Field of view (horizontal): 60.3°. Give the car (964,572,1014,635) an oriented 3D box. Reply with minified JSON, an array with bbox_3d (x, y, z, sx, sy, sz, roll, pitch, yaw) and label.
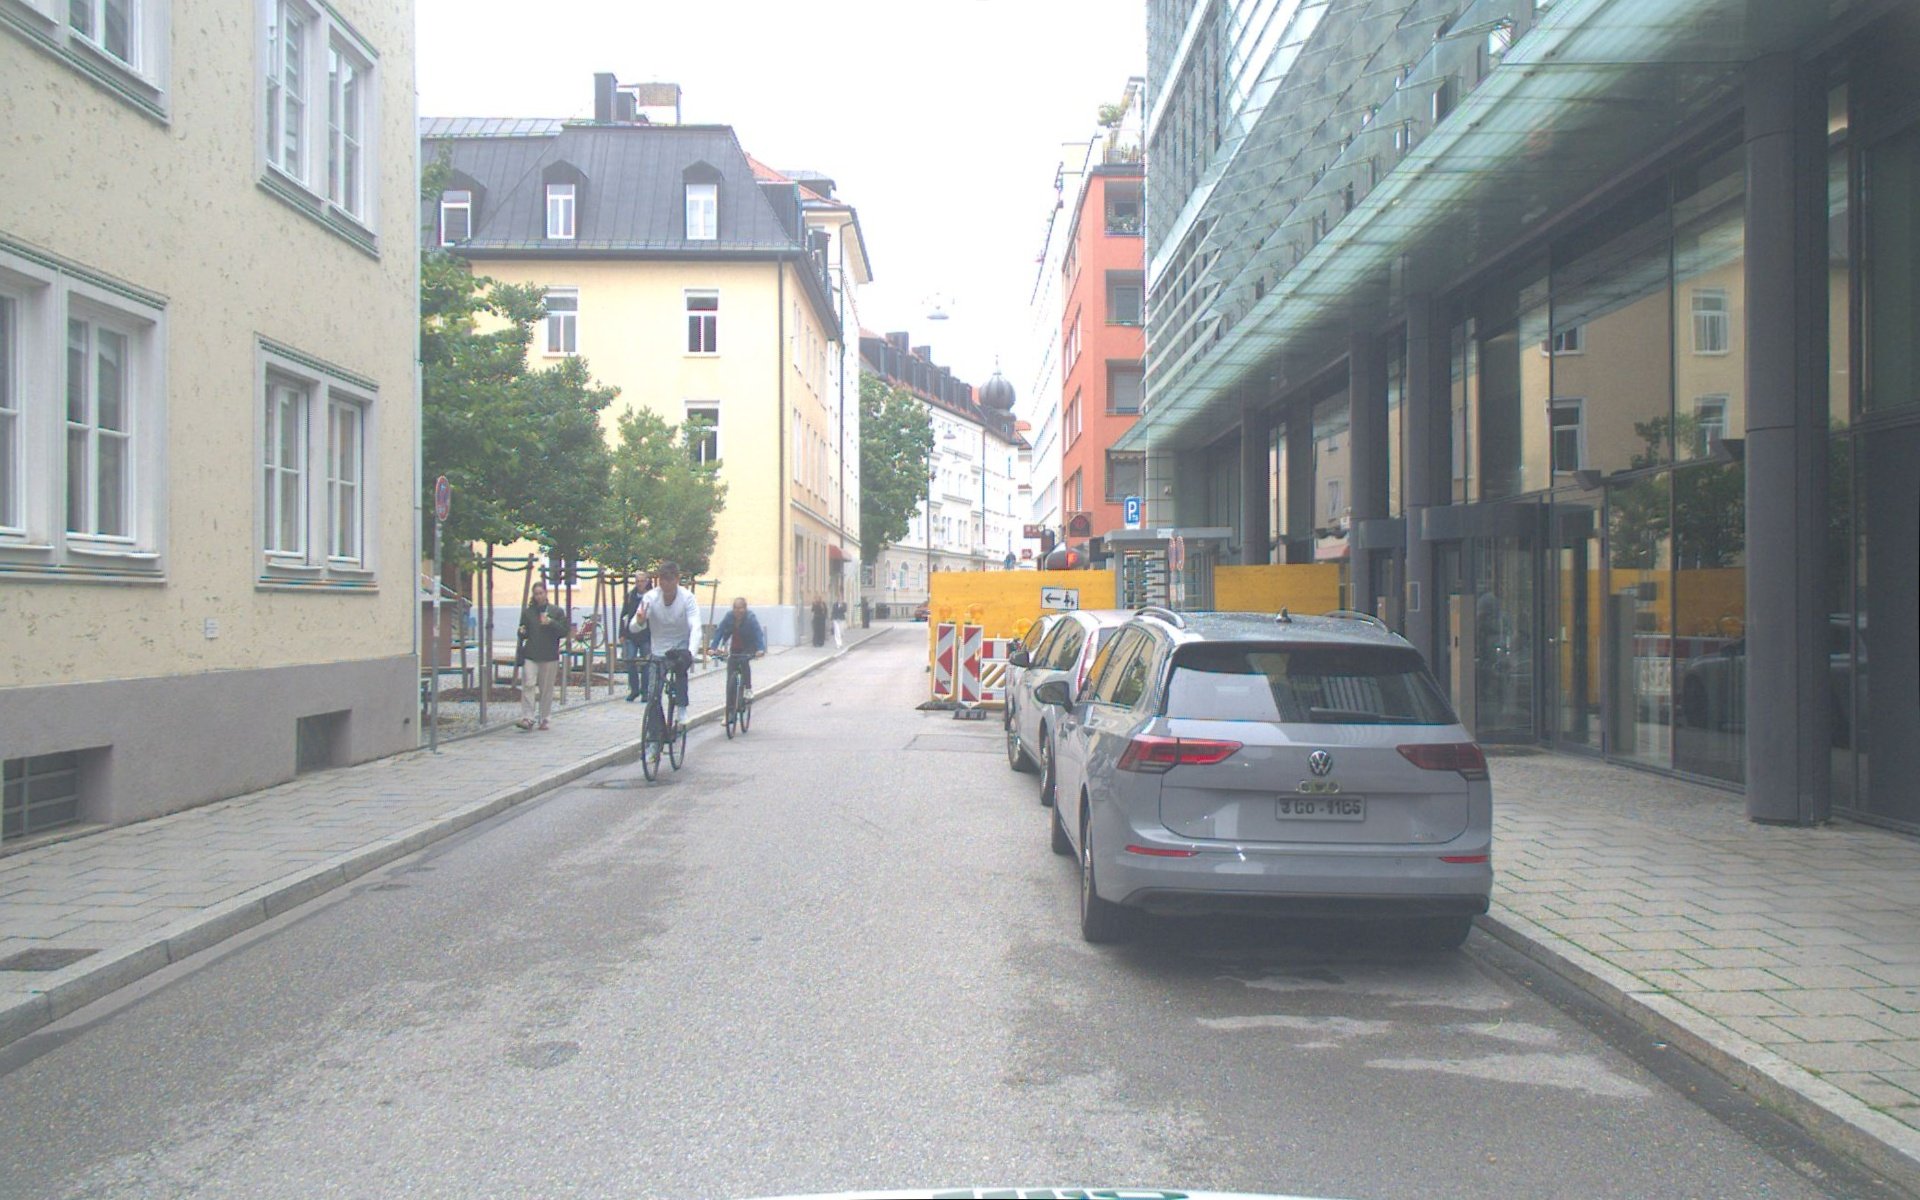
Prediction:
[{"bbox_3d":[1.225,0.143,71.052,1.953,2.581,4.974,1,0,-1],"label":"car"}]

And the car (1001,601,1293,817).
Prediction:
[{"bbox_3d":[1.375,0.784,13.766,1.673,1.493,4.234,1,-1,-4],"label":"car"}]

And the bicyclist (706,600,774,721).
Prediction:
[{"bbox_3d":[-2.605,0.705,19.660,0.693,1.395,0.813,-1,0,-1],"label":"bicyclist"}]

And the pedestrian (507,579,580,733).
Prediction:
[{"bbox_3d":[-4.724,0.625,18.784,0.634,1.706,0.723,1,-1,-2],"label":"pedestrian"}]

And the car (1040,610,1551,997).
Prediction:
[{"bbox_3d":[1.388,0.785,8.472,1.673,1.457,4.328,0,0,-1],"label":"car"}]

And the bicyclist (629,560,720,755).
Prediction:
[{"bbox_3d":[-2.524,0.498,14.687,0.646,1.672,0.895,-1,0,-1],"label":"bicyclist"}]

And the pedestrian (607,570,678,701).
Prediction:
[{"bbox_3d":[-4.762,0.524,24.861,0.850,1.914,1.134,1,-1,-1],"label":"pedestrian"}]

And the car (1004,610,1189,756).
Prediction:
[{"bbox_3d":[1.437,0.854,18.925,1.673,1.439,4.509,1,-1,-1],"label":"car"}]

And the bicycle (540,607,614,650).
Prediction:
[{"bbox_3d":[-11.070,0.822,47.806,2.000,1.218,0.570,0,0,6],"label":"bicycle"}]

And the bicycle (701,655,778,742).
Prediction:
[{"bbox_3d":[-2.604,1.145,19.689,0.693,0.921,1.809,-1,0,-1],"label":"bicycle"}]

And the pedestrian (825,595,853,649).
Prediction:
[{"bbox_3d":[-3.878,0.700,53.111,0.822,1.730,0.803,1,-1,-1],"label":"pedestrian"}]

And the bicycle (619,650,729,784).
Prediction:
[{"bbox_3d":[-2.522,1.005,14.792,0.648,1.057,2.004,-1,0,-1],"label":"bicycle"}]

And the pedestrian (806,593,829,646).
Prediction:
[{"bbox_3d":[-4.605,0.624,53.514,0.656,1.677,0.761,1,-1,-1],"label":"pedestrian"}]

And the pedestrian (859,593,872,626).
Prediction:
[{"bbox_3d":[-4.762,0.477,83.710,0.621,1.704,0.517,1,0,-1],"label":"pedestrian"}]

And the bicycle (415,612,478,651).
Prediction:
[{"bbox_3d":[-14.739,0.889,47.490,1.621,1.088,0.598,1,0,3],"label":"bicycle"}]
